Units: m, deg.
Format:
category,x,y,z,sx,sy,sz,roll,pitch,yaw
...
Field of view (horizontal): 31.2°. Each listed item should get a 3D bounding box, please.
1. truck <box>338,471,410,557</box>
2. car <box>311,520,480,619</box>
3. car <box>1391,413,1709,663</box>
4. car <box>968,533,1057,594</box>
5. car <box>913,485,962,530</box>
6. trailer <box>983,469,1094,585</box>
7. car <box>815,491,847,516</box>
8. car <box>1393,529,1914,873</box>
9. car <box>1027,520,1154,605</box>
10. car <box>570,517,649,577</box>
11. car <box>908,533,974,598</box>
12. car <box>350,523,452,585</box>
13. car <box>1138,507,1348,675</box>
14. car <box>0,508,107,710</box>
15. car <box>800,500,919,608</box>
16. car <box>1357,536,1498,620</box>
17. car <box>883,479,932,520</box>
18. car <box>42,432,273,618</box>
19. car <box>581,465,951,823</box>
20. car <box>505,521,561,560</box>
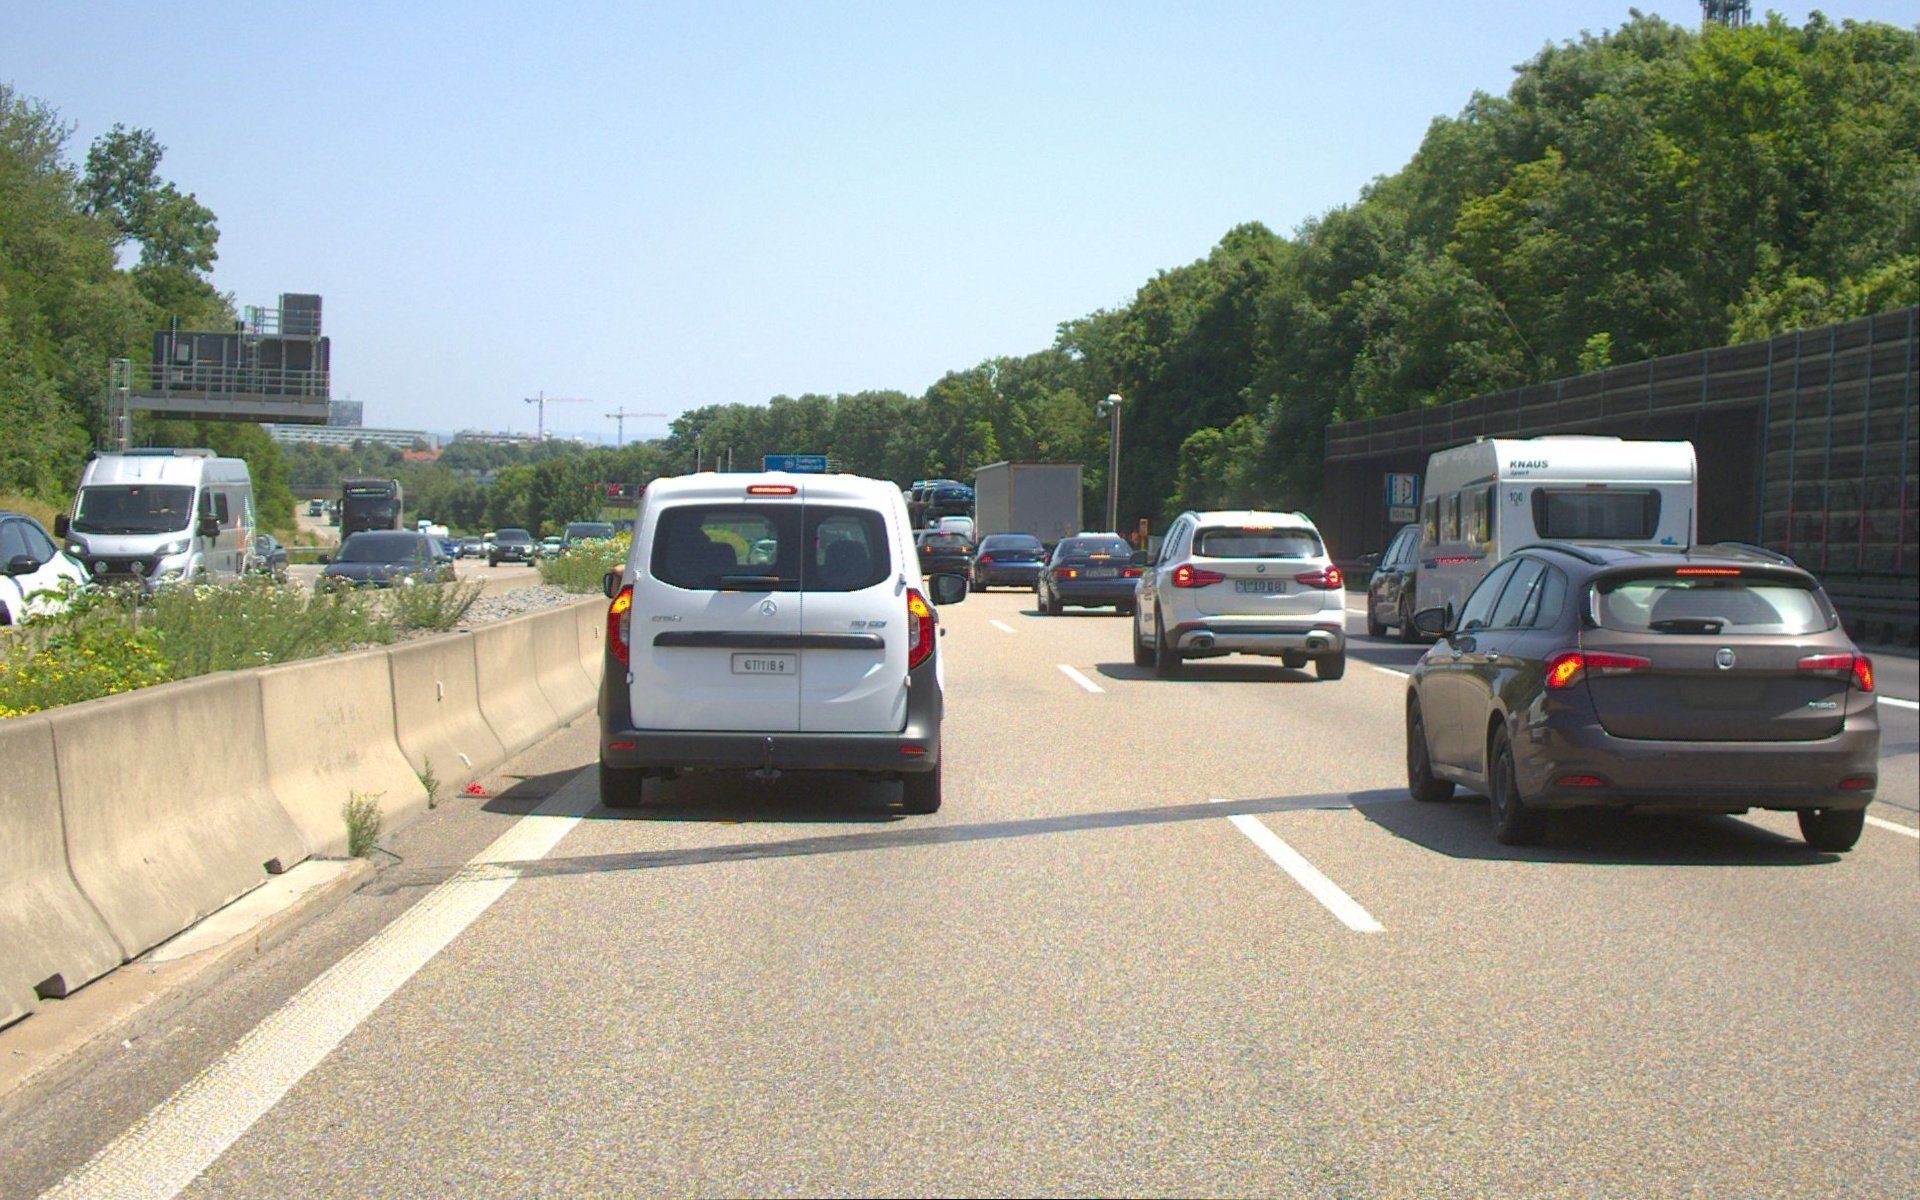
category,x,y,z,sx,sy,sz,roll,pitch,yaw
truck,-27.740,-4.065,162.920,2.828,3.925,6.008,0,1,-4
car,-8.437,-0.479,51.685,1.875,1.406,4.413,1,1,-1
car,6.950,-0.743,41.329,2.478,2.756,6.221,0,1,-3
car,1.229,-0.880,82.439,1.824,1.419,4.001,0,1,-4
car,-1.045,-4.160,155.054,1.993,2.007,4.001,0,1,-3
trailer,2.747,-2.597,123.484,3.081,3.972,10.325,0,1,-4
car,-8.884,-6.622,236.287,1.993,1.722,4.001,0,1,-5
car,3.437,0.415,17.868,1.838,1.508,4.402,1,2,1
car,2.240,-0.669,60.076,1.824,1.419,4.001,0,1,-4
car,-10.457,-1.614,102.707,1.993,1.718,4.357,1,2,-1
car,-0.609,-1.062,107.098,1.824,1.982,4.000,0,0,-4
car,-13.243,-1.107,81.629,1.813,1.397,4.272,1,2,-1
car,2.855,-0.139,35.431,1.871,1.602,3.879,1,2,1
car,-8.109,0.030,26.946,1.804,1.521,4.257,1,1,0
car,-1.848,-0.836,61.976,1.993,1.853,4.001,0,1,-4
car,8.167,-0.410,60.357,1.824,1.419,4.000,0,1,-2
car,-2.652,-5.008,172.138,1.993,2.007,4.001,0,1,-7
car,-12.293,-1.151,53.102,2.215,2.692,6.063,1,1,-1
car,-0.985,0.180,19.352,1.802,1.802,4.000,0,1,1
car,-18.268,-2.537,147.169,1.993,1.622,4.475,1,1,-2
